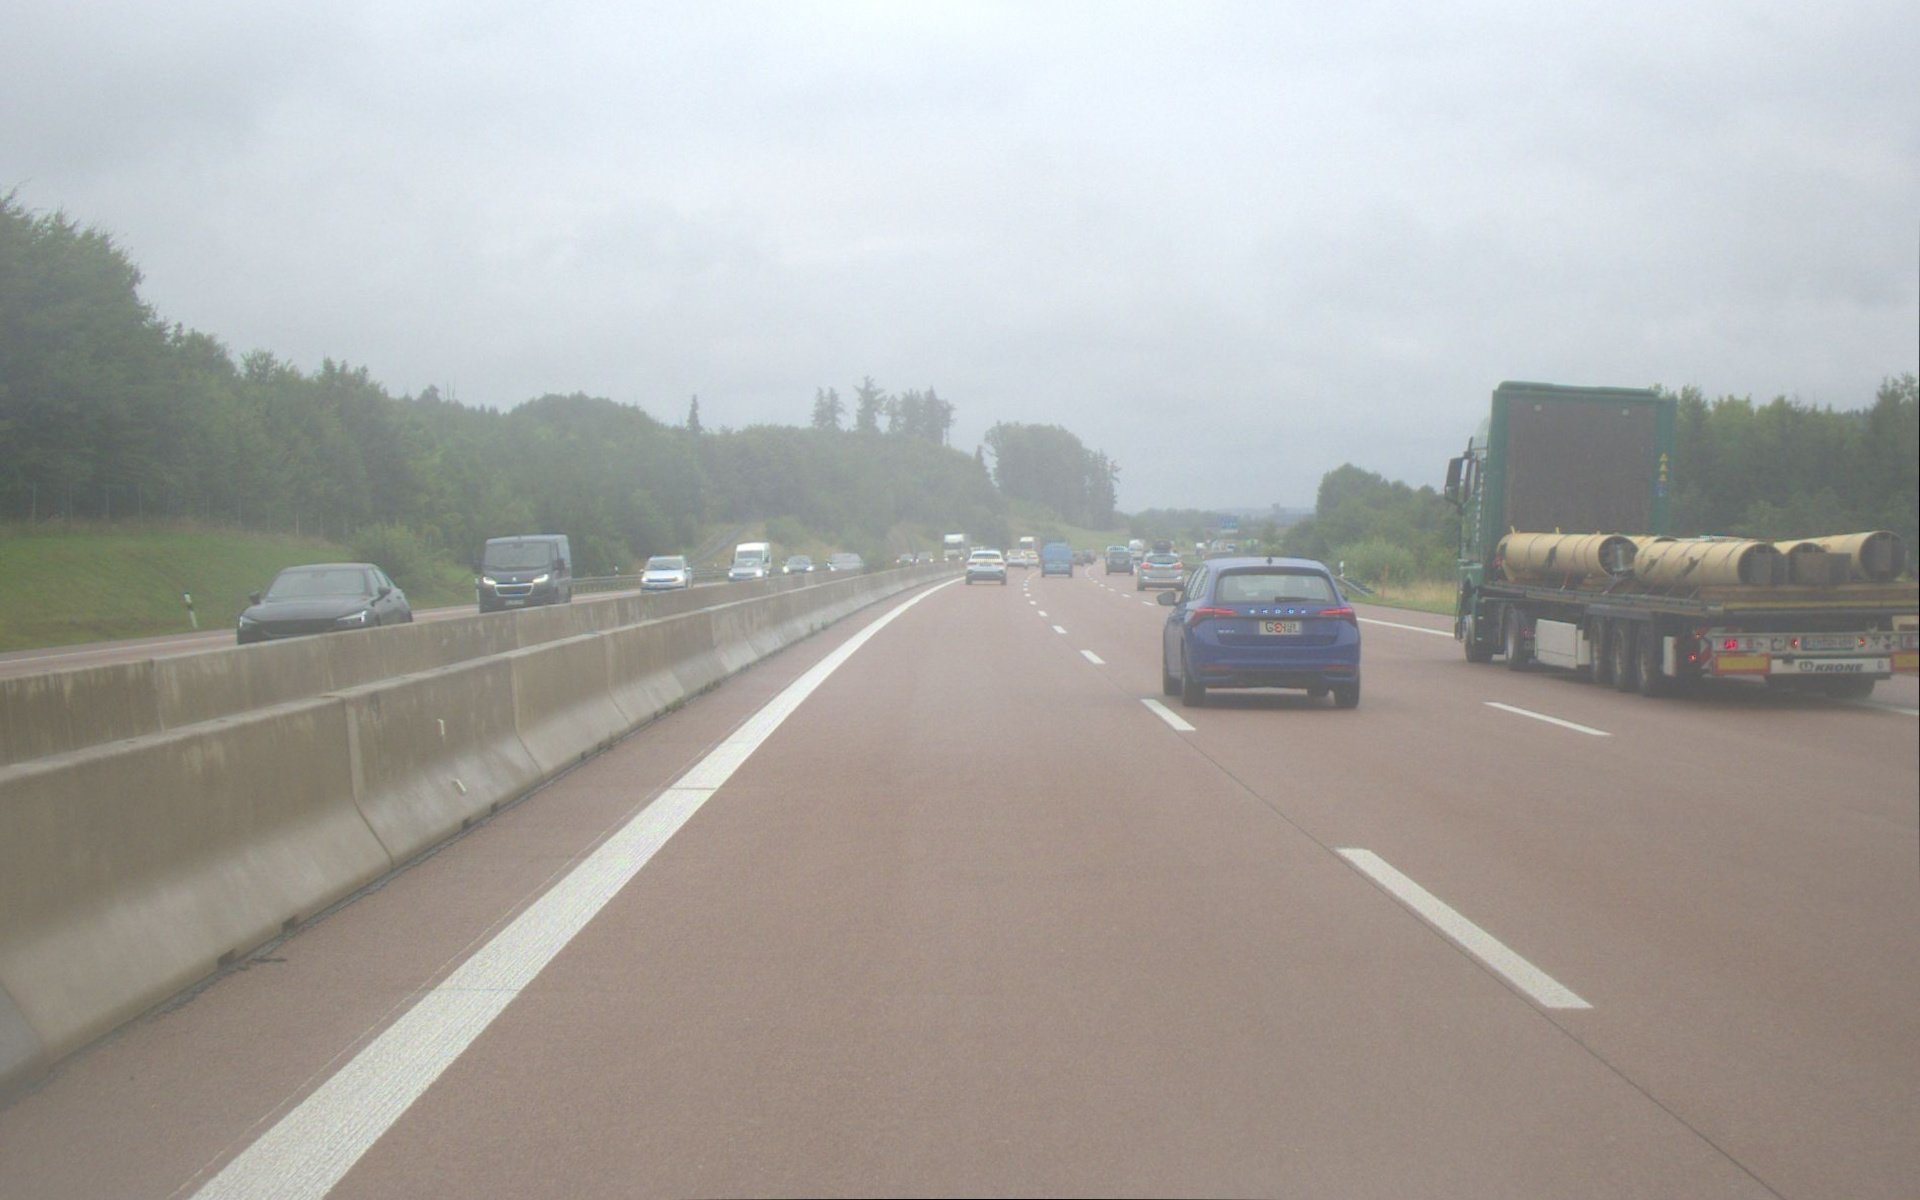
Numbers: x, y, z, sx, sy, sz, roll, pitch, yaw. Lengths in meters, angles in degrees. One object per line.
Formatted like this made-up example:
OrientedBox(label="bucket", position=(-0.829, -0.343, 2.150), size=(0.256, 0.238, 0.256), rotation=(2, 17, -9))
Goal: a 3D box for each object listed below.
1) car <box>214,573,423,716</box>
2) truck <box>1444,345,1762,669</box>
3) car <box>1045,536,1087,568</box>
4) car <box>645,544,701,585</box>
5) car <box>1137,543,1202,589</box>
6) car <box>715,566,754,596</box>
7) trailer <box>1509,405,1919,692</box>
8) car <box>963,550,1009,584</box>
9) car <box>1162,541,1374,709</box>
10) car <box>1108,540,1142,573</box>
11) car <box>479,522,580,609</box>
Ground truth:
OrientedBox(label="car", position=(-8.878, 0.592, 48.010), size=(1.776, 1.850, 5.321), rotation=(1, 0, 1))
OrientedBox(label="truck", position=(8.442, -1.135, 45.990), size=(2.897, 3.951, 6.988), rotation=(1, 0, 0))
OrientedBox(label="car", position=(6.210, -2.815, 202.740), size=(2.322, 1.744, 4.877), rotation=(1, 0, 0))
OrientedBox(label="car", position=(-11.339, -1.403, 136.175), size=(1.788, 1.551, 4.866), rotation=(-2, 1, 0))
OrientedBox(label="car", position=(8.400, -1.358, 138.316), size=(2.322, 1.744, 4.877), rotation=(1, 0, 0))
OrientedBox(label="car", position=(-11.612, -0.994, 177.229), size=(1.649, 1.385, 4.811), rotation=(-3, 1, 0))
OrientedBox(label="trailer", position=(8.422, -0.461, 38.077), size=(2.881, 2.666, 11.398), rotation=(1, 0, 0))
OrientedBox(label="car", position=(1.158, -1.482, 156.047), size=(1.874, 1.439, 4.877), rotation=(1, 0, -2))
OrientedBox(label="car", position=(3.048, 0.245, 34.762), size=(1.771, 1.559, 4.146), rotation=(1, 0, 0))
OrientedBox(label="car", position=(10.727, -2.824, 224.031), size=(1.993, 2.007, 4.000), rotation=(1, 0, 0))
OrientedBox(label="car", position=(-11.650, -0.903, 93.315), size=(2.102, 2.272, 5.396), rotation=(1, 0, -1))
